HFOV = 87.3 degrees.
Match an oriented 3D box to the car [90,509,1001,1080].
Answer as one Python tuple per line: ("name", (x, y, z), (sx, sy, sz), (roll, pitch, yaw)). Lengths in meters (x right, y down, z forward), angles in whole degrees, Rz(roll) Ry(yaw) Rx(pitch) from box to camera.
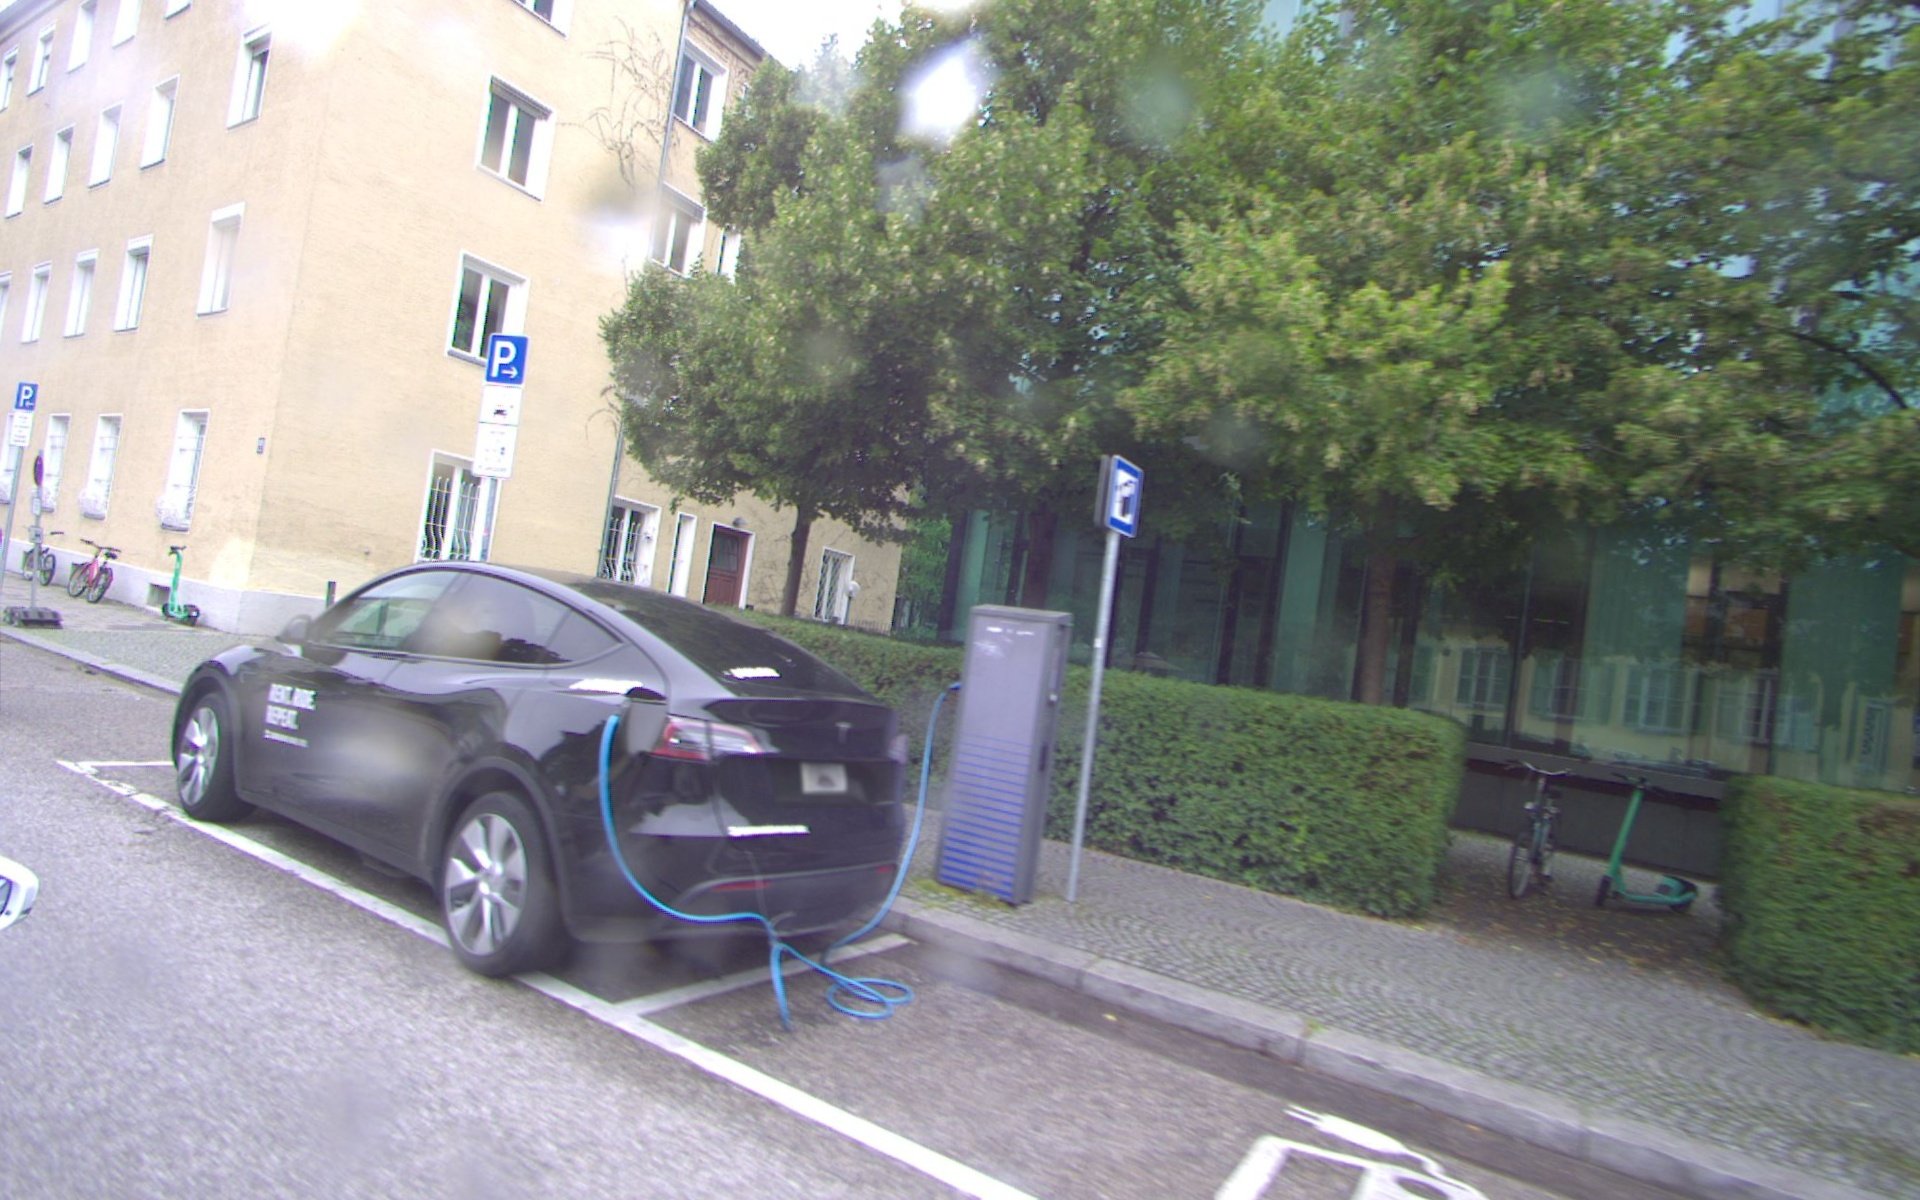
("car", (-2.512, 0.634, 5.489), (5.018, 1.648, 1.998), (6, -4, 34))

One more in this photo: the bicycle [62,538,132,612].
("bicycle", (-15.495, -0.457, 18.042), (1.730, 1.148, 0.342), (7, -1, 32))

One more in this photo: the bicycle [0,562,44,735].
("bicycle", (-7.546, 0.240, 7.371), (1.979, 1.153, 0.673), (6, -4, 35))

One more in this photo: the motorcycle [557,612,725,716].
("motorcycle", (-3.949, 0.818, 12.598), (0.697, 1.146, 1.896), (7, -1, 33))

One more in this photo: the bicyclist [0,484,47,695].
("bicyclist", (-7.420, -0.148, 7.324), (0.966, 1.498, 0.756), (6, -4, 35))

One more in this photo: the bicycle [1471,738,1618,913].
("bicycle", (5.202, 1.940, 8.881), (0.625, 1.283, 1.938), (7, -3, 42))

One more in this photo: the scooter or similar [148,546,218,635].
("scooter or similar", (-12.381, -0.160, 16.022), (1.288, 1.271, 0.342), (6, 0, 32))

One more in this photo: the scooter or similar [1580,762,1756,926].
("scooter or similar", (6.176, 2.122, 8.788), (1.176, 1.213, 0.455), (9, -2, -10))

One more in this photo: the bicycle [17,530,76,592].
("bicycle", (-18.503, -0.799, 20.360), (1.784, 1.095, 0.342), (6, 0, 32))
